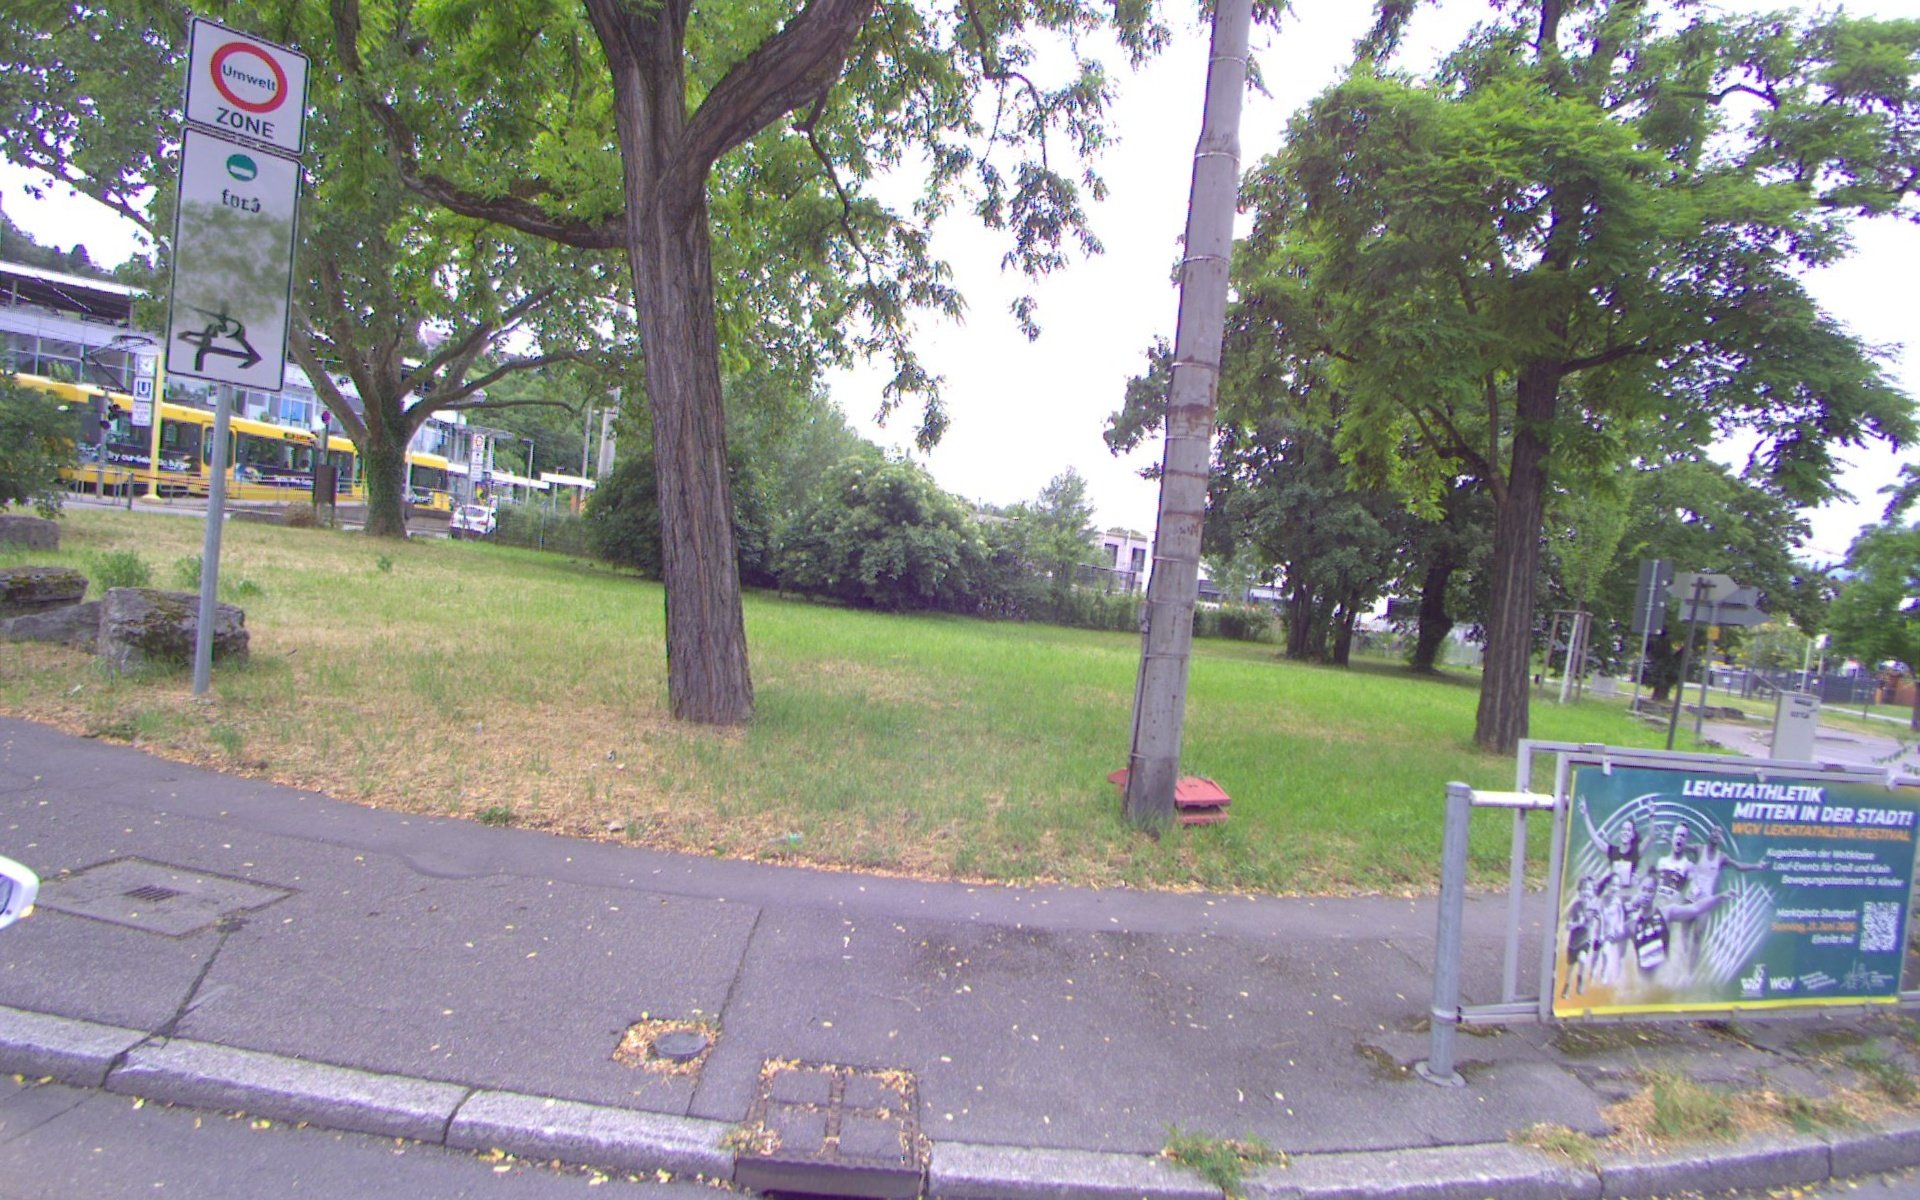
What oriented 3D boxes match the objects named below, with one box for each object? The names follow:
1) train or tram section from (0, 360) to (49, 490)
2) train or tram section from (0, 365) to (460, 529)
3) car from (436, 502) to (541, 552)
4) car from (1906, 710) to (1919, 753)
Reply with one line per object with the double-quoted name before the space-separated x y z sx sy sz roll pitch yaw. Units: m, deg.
"train or tram section" -31.884 -5.455 22.126 3.215 3.713 19.168 7 2 12
"train or tram section" -28.294 -5.528 40.973 3.215 3.713 19.168 7 2 10
"car" -19.402 -2.970 41.596 1.768 1.605 4.125 7 2 9
"car" 37.727 5.069 37.412 3.881 1.555 2.040 5 0 -18
